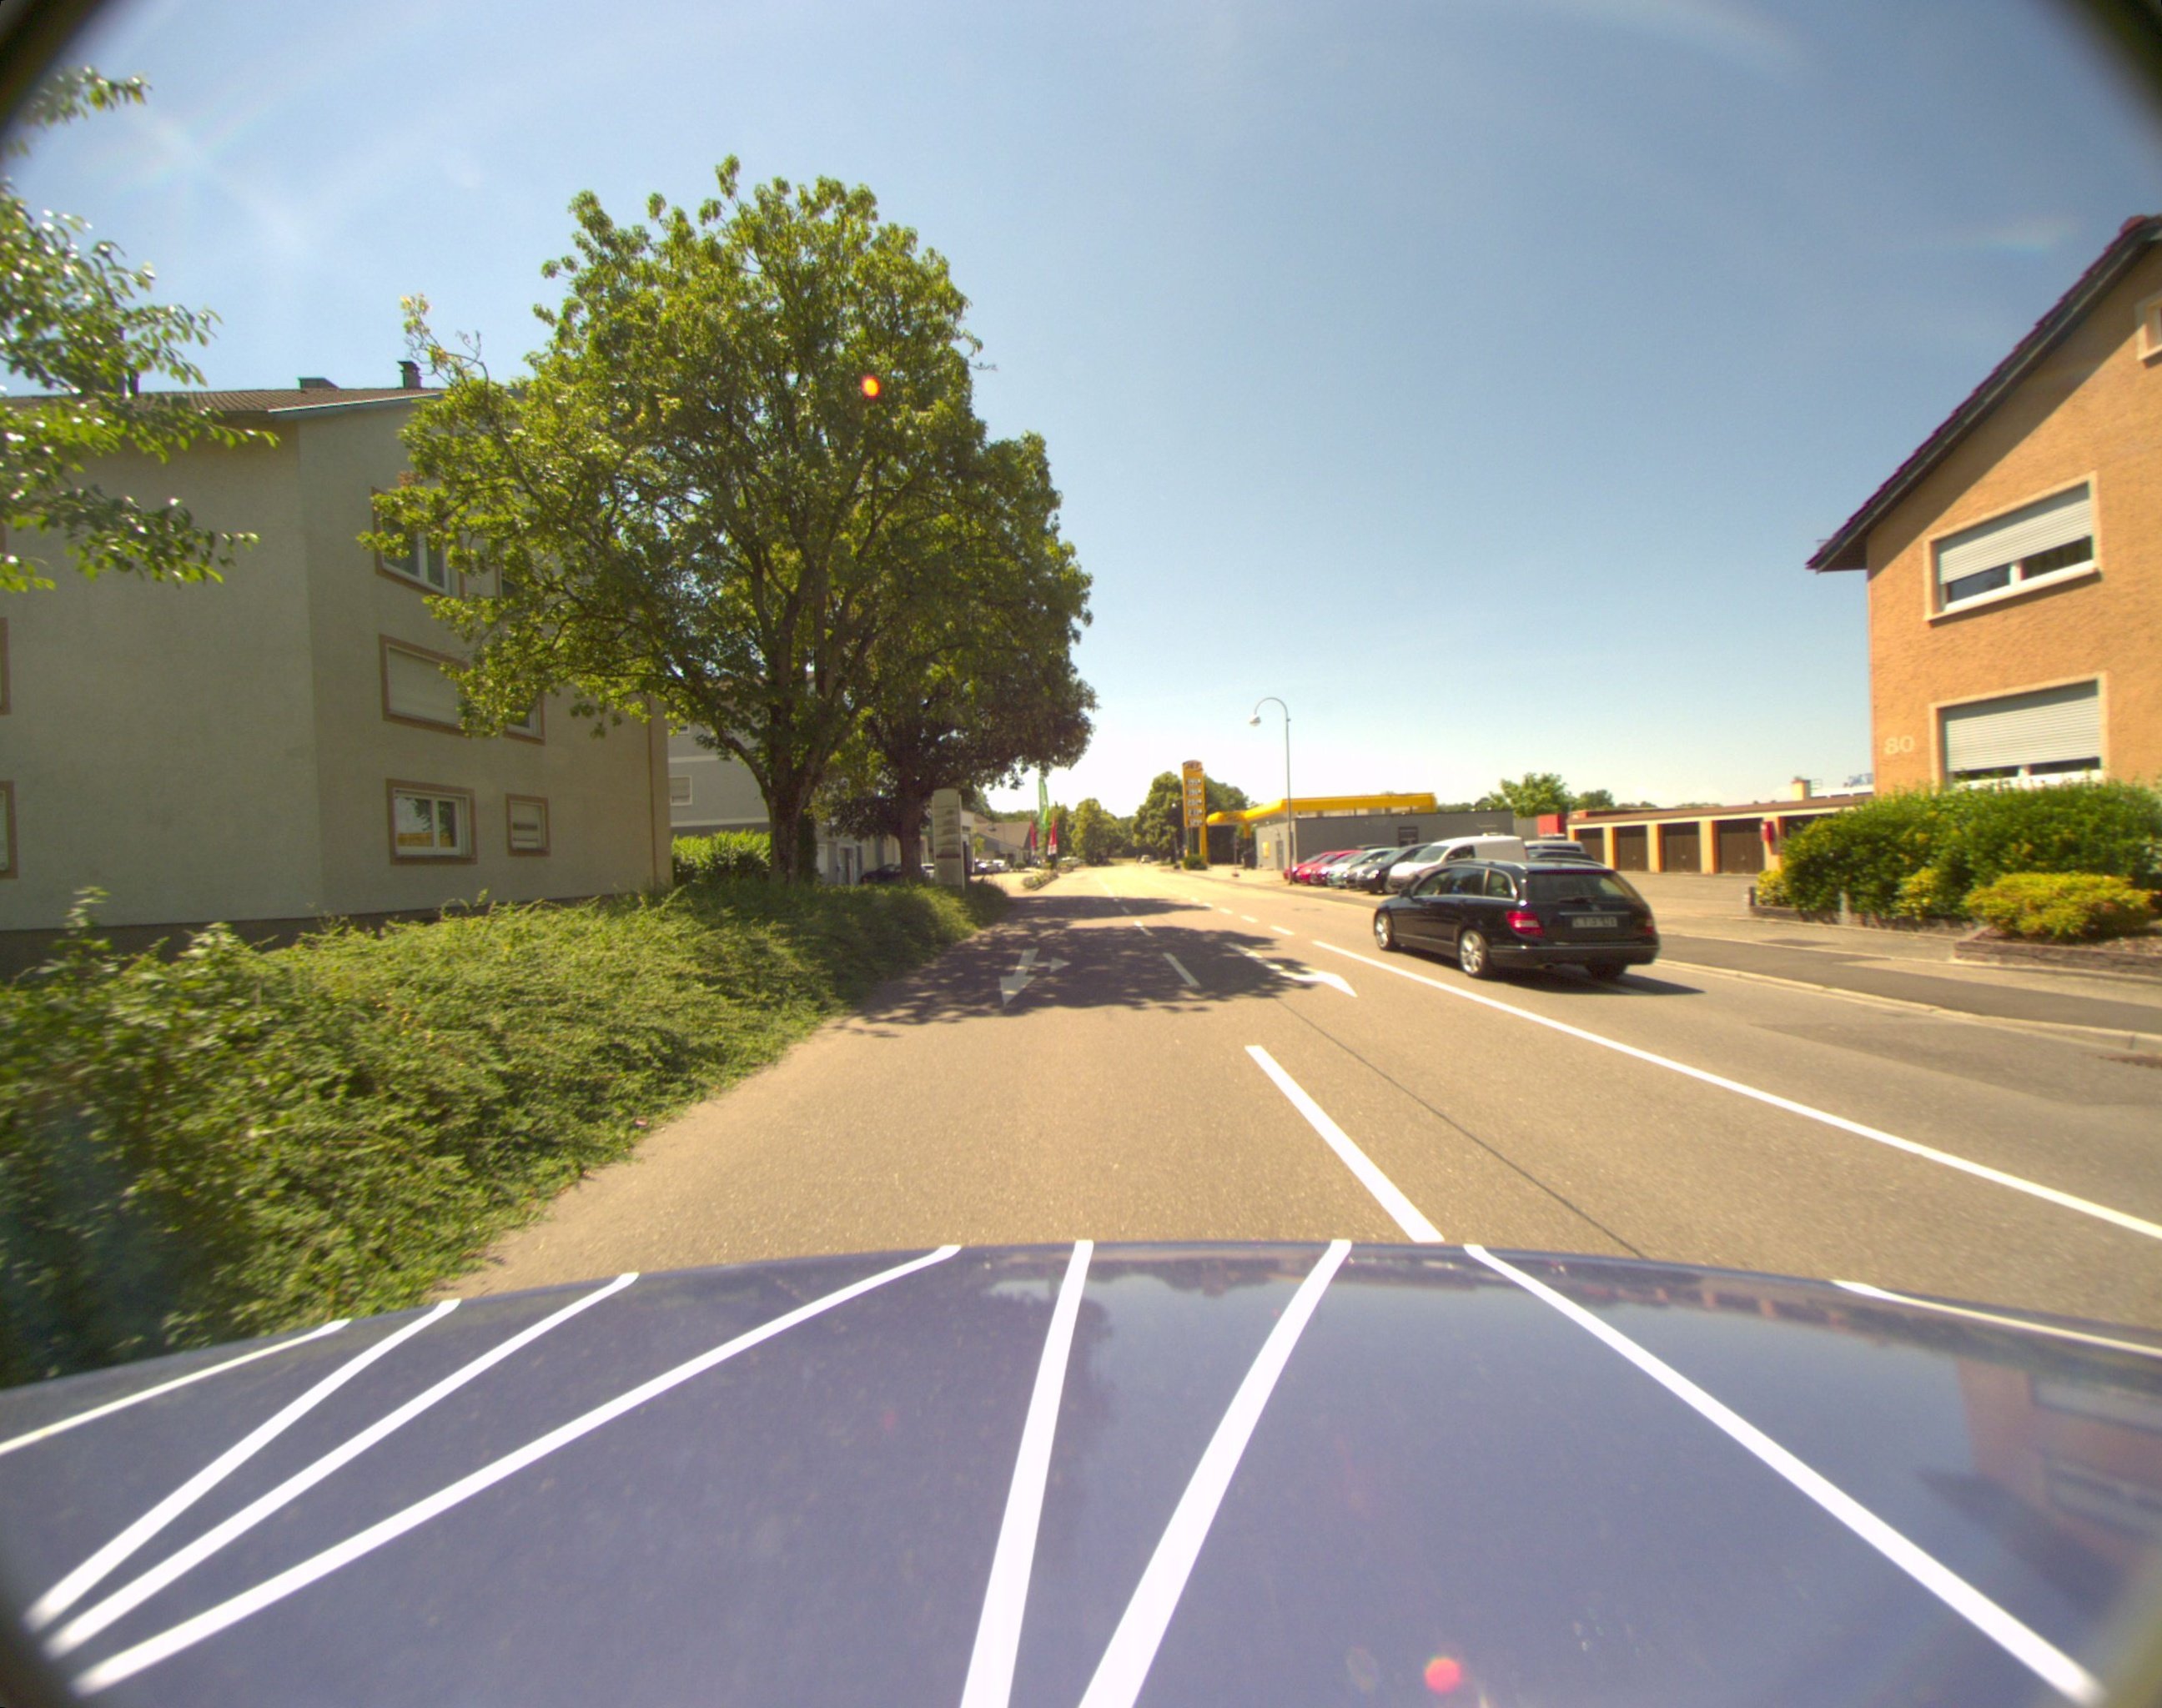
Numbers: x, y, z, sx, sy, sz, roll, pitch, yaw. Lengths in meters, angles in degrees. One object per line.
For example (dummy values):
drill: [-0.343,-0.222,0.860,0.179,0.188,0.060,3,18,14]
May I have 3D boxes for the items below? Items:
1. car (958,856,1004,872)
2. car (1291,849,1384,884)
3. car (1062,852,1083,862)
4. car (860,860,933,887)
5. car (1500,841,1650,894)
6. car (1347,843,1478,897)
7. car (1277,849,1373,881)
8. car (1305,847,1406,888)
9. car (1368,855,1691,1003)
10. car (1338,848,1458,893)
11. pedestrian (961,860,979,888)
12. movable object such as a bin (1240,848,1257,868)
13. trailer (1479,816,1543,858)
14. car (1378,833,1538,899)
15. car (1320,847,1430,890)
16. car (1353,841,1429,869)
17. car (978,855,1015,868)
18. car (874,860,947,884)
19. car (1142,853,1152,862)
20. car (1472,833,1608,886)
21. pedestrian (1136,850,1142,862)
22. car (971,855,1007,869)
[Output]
car: [-11.142,1.096,84.428,4.586,1.632,2.003,-2,1,20]
car: [11.938,0.547,35.538,3.673,1.449,1.892,-2,1,-2]
car: [-1.481,0.497,130.427,3.405,1.497,1.582,-2,0,2]
car: [-11.178,1.196,46.272,3.997,1.541,1.797,-1,1,0]
car: [17.154,0.449,26.491,3.997,1.559,1.830,-3,0,-1]
car: [11.480,0.530,26.467,3.673,1.663,1.922,-2,1,-2]
car: [12.128,0.536,37.945,4.136,1.435,1.826,-2,1,0]
car: [11.866,0.557,33.037,3.673,1.596,1.881,-2,1,-2]
car: [5.507,0.797,10.091,1.714,1.486,4.277,-2,0,0]
car: [11.922,0.596,28.739,3.673,1.523,1.922,-2,1,-2]
pedestrian: [-6.915,1.243,47.436,0.842,1.632,1.010,-2,1,5]
movable object such as a bin: [13.469,0.333,61.194,0.954,1.508,1.428,-6,-1,1]
trailer: [34.524,-1.291,61.220,1.869,3.200,5.914,-2,0,1]
car: [12.000,0.361,24.367,4.105,1.887,1.999,-2,1,-4]
car: [11.860,0.569,30.845,3.673,1.572,1.922,-2,1,-2]
car: [19.198,0.065,47.132,3.996,1.575,1.754,-2,1,3]
car: [-10.218,0.908,91.767,3.992,1.452,1.807,-2,1,16]
car: [-11.213,1.159,49.885,4.362,1.363,1.952,-2,1,-22]
car: [13.741,0.708,157.385,1.973,1.662,4.251,-1,0,6]
car: [17.217,0.191,28.639,3.912,1.850,2.000,-1,0,-1]
pedestrian: [9.419,0.316,123.482,0.730,1.779,0.621,-2,1,14]
car: [-10.909,0.959,89.786,3.859,1.524,1.680,-1,1,19]
